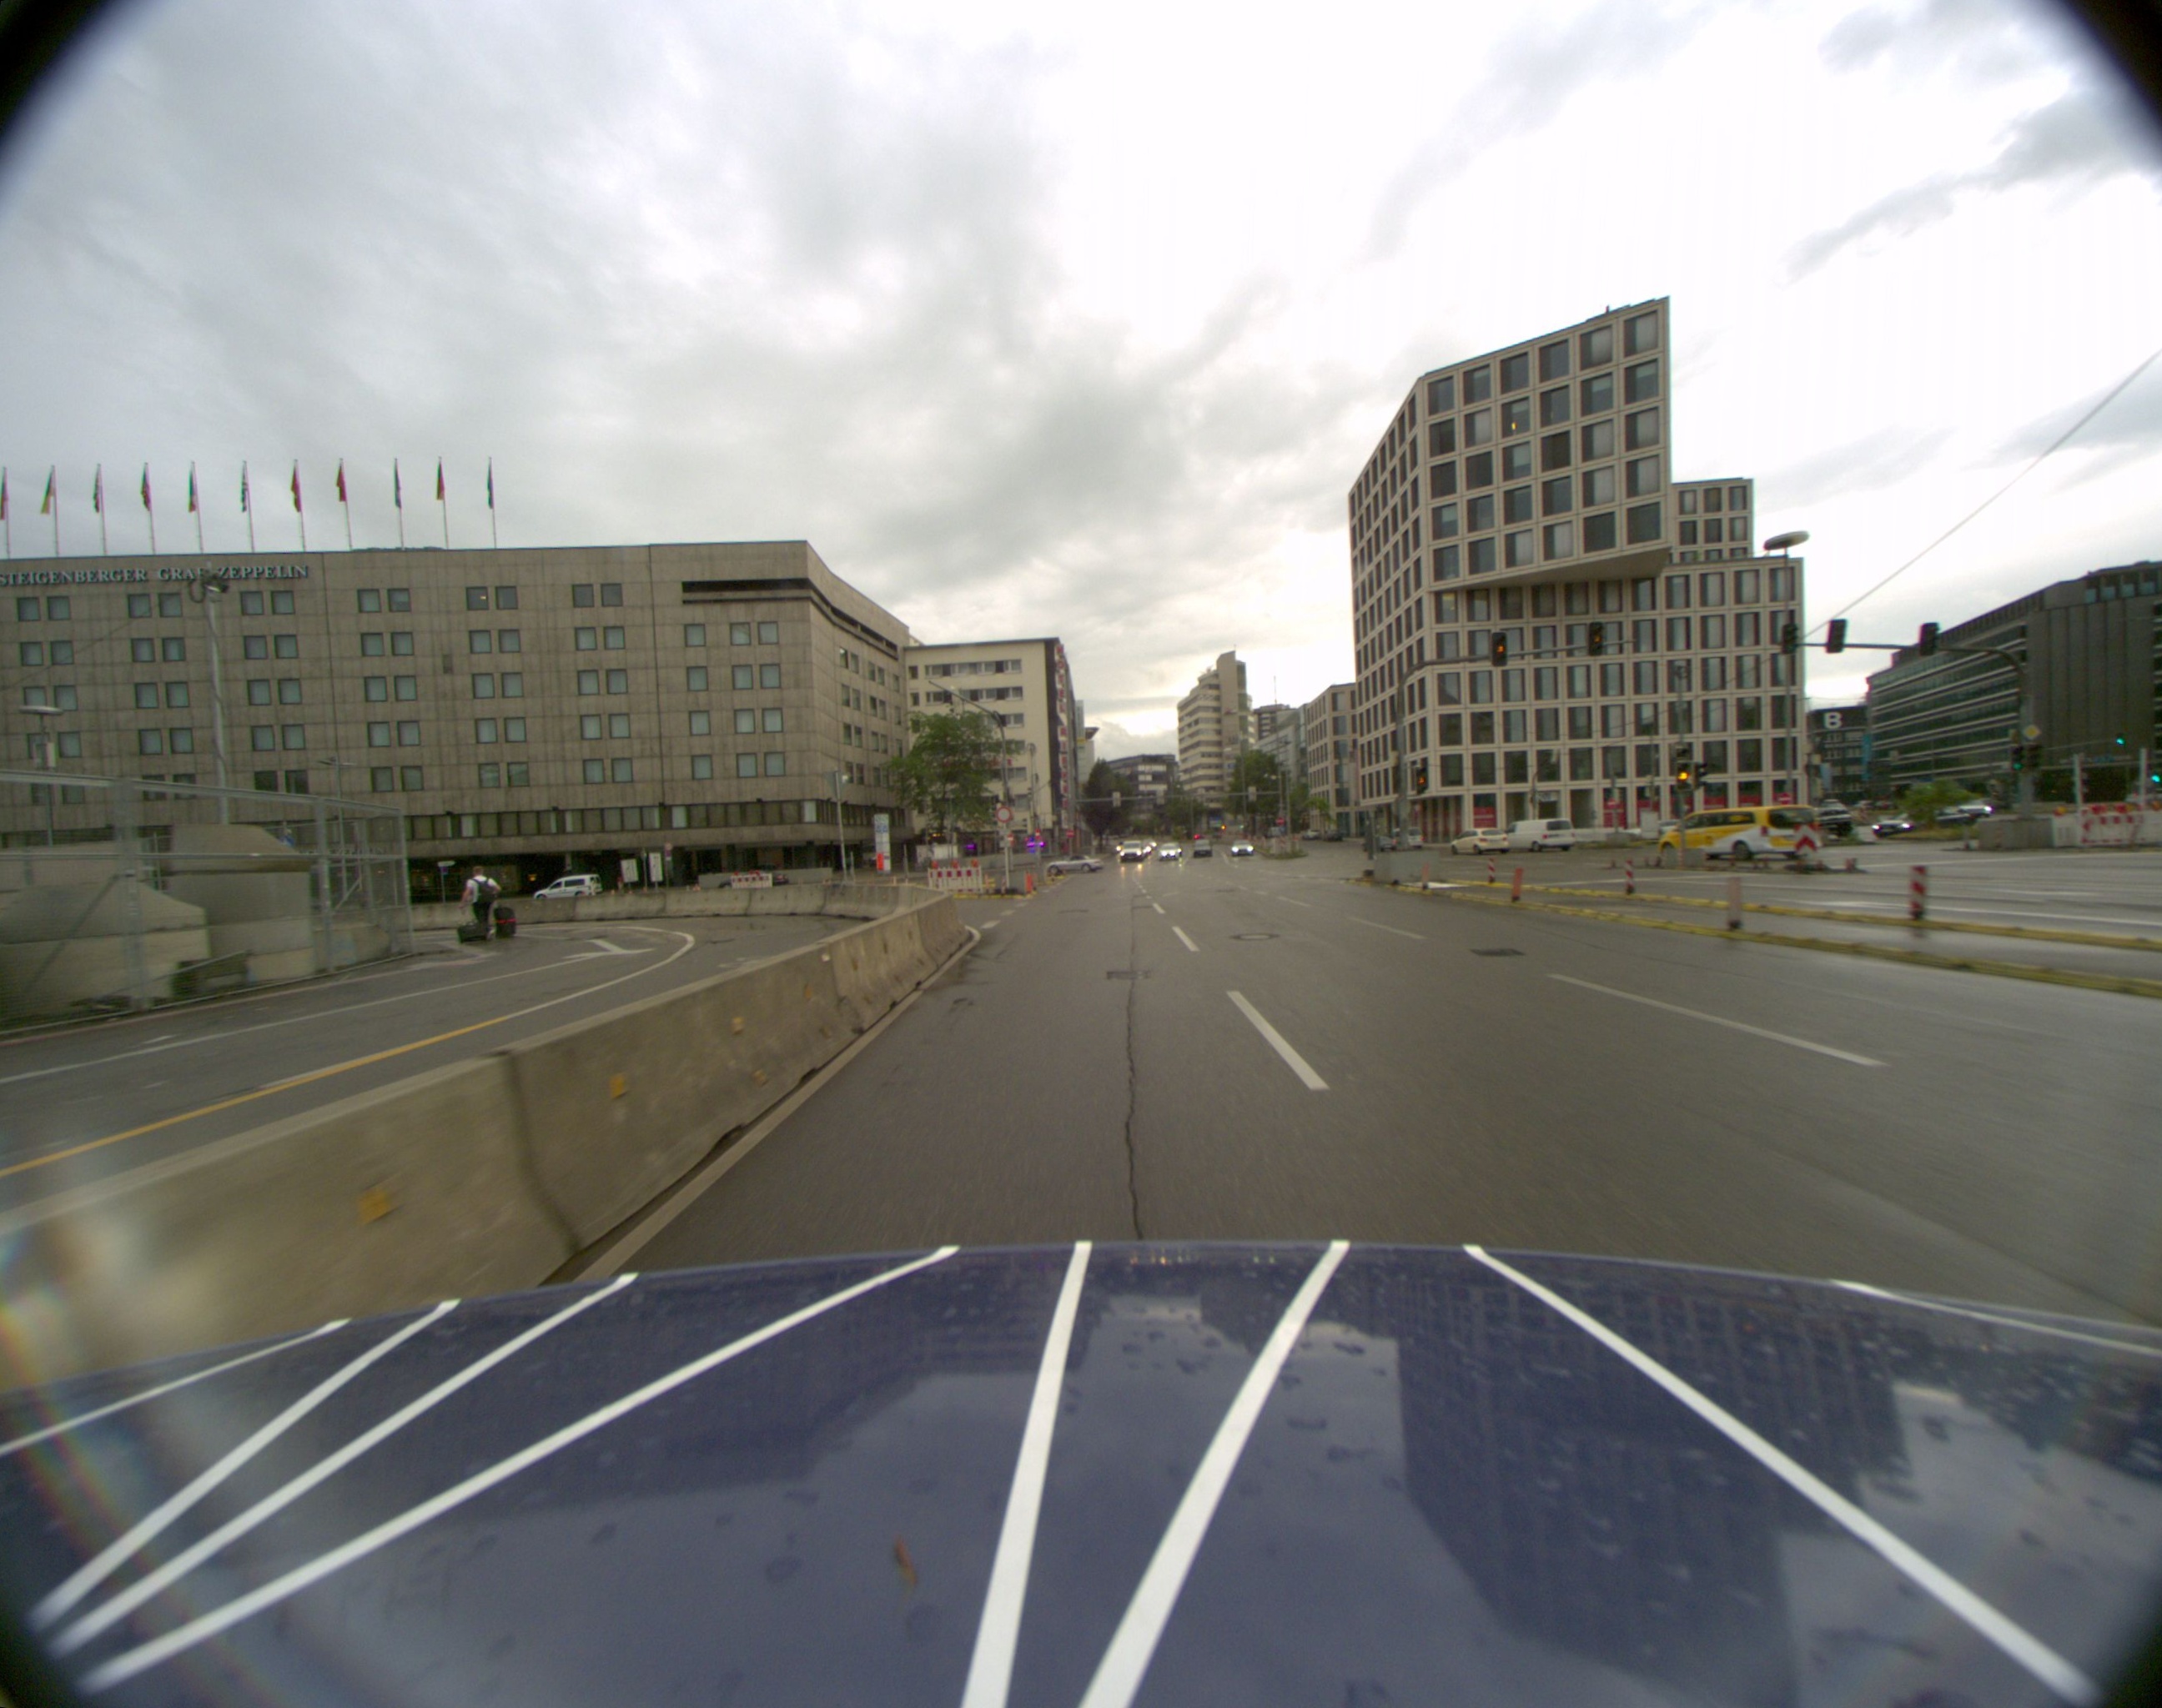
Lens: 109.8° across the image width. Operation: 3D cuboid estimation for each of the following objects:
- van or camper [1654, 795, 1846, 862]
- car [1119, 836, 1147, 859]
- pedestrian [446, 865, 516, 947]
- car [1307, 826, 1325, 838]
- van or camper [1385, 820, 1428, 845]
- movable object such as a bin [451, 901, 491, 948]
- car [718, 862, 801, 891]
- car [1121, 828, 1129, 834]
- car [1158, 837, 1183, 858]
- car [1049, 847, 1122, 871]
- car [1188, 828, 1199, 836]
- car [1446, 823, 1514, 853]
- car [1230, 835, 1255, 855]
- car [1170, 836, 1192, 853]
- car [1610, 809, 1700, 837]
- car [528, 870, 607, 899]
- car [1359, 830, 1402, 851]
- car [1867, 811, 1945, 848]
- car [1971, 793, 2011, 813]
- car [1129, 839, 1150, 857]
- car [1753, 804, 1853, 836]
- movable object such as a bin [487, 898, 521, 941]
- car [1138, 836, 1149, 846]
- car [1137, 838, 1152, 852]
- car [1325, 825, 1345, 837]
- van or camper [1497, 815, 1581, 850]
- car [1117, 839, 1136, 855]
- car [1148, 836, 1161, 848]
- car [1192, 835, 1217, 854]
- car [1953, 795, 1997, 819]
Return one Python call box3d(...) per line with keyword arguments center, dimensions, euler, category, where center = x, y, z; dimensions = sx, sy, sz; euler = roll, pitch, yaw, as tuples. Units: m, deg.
box3d(center=(23.981, -0.887, 27.635), dimensions=(2.244, 2.043, 5.608), euler=(-3, 1, 4), category="van or camper")
box3d(center=(4.866, -0.616, 70.152), dimensions=(2.085, 1.893, 5.087), euler=(-3, 1, 8), category="car")
box3d(center=(-14.415, 1.234, 18.280), dimensions=(0.777, 1.855, 1.004), euler=(-3, 2, 32), category="pedestrian")
box3d(center=(34.261, -3.212, 110.989), dimensions=(1.865, 1.514, 4.002), euler=(-3, 1, 9), category="car")
box3d(center=(28.224, -1.850, 66.081), dimensions=(1.850, 1.967, 4.255), euler=(-3, 1, 0), category="van or camper")
box3d(center=(-14.251, 1.639, 17.754), dimensions=(0.552, 1.010, 0.520), euler=(-3, 2, 31), category="movable object such as a bin")
box3d(center=(-21.917, 1.526, 51.949), dimensions=(4.661, 1.589, 2.017), euler=(-4, 1, -3), category="car")
box3d(center=(15.209, -7.915, 262.603), dimensions=(1.851, 1.589, 4.177), euler=(-4, 1, -9), category="car")
box3d(center=(8.048, -0.614, 68.620), dimensions=(2.016, 1.728, 4.664), euler=(-3, 1, 6), category="car")
box3d(center=(0.322, 0.342, 50.849), dimensions=(4.520, 1.302, 1.645), euler=(-3, 1, 21), category="car")
box3d(center=(25.583, -4.983, 172.285), dimensions=(1.850, 1.589, 4.180), euler=(-3, 1, 0), category="car")
box3d(center=(24.365, -0.977, 46.577), dimensions=(1.846, 1.664, 4.380), euler=(-3, 1, 1), category="car")
box3d(center=(14.575, -0.819, 68.589), dimensions=(2.015, 1.589, 4.666), euler=(-3, 1, 11), category="car")
box3d(center=(10.009, -0.957, 76.204), dimensions=(2.016, 1.589, 4.664), euler=(-3, 1, 6), category="car")
box3d(center=(41.534, -2.234, 55.047), dimensions=(4.809, 1.743, 2.229), euler=(-3, 1, 1), category="car")
box3d(center=(-37.211, 2.197, 55.137), dimensions=(4.369, 1.752, 1.779), euler=(-4, 1, -2), category="car")
box3d(center=(24.802, -1.124, 62.977), dimensions=(1.850, 1.589, 4.180), euler=(-3, 1, 0), category="car")
box3d(center=(42.441, -1.271, 39.076), dimensions=(4.005, 1.687, 1.693), euler=(-3, 1, -28), category="car")
box3d(center=(101.692, -5.703, 84.956), dimensions=(1.995, 2.002, 4.007), euler=(-2, 1, 36), category="car")
box3d(center=(5.922, -0.649, 77.708), dimensions=(2.016, 1.589, 4.664), euler=(-3, 1, 4), category="car")
box3d(center=(39.649, -1.854, 41.791), dimensions=(3.999, 1.477, 1.835), euler=(-4, 1, -7), category="car")
box3d(center=(-14.257, 1.623, 18.783), dimensions=(0.521, 1.010, 0.432), euler=(-3, 2, 31), category="movable object such as a bin")
box3d(center=(10.215, -2.100, 124.616), dimensions=(1.671, 1.475, 3.486), euler=(-3, 1, 5), category="car")
box3d(center=(7.299, -1.041, 87.173), dimensions=(1.671, 1.475, 3.486), euler=(-3, 1, 5), category="car")
box3d(center=(33.078, -2.988, 99.134), dimensions=(1.864, 1.514, 4.002), euler=(-3, 1, 11), category="car")
box3d(center=(27.551, -1.270, 45.932), dimensions=(1.886, 1.883, 5.211), euler=(-3, 1, 0), category="van or camper")
box3d(center=(5.895, -0.926, 97.284), dimensions=(1.921, 2.002, 4.002), euler=(-3, 1, 9), category="car")
box3d(center=(10.118, -1.661, 104.852), dimensions=(1.671, 1.475, 3.486), euler=(-3, 1, 5), category="car")
box3d(center=(11.508, -0.928, 71.034), dimensions=(2.016, 1.589, 4.664), euler=(-3, 1, 6), category="car")
box3d(center=(75.969, -4.006, 64.528), dimensions=(4.136, 1.706, 1.853), euler=(-5, 2, -32), category="car")
